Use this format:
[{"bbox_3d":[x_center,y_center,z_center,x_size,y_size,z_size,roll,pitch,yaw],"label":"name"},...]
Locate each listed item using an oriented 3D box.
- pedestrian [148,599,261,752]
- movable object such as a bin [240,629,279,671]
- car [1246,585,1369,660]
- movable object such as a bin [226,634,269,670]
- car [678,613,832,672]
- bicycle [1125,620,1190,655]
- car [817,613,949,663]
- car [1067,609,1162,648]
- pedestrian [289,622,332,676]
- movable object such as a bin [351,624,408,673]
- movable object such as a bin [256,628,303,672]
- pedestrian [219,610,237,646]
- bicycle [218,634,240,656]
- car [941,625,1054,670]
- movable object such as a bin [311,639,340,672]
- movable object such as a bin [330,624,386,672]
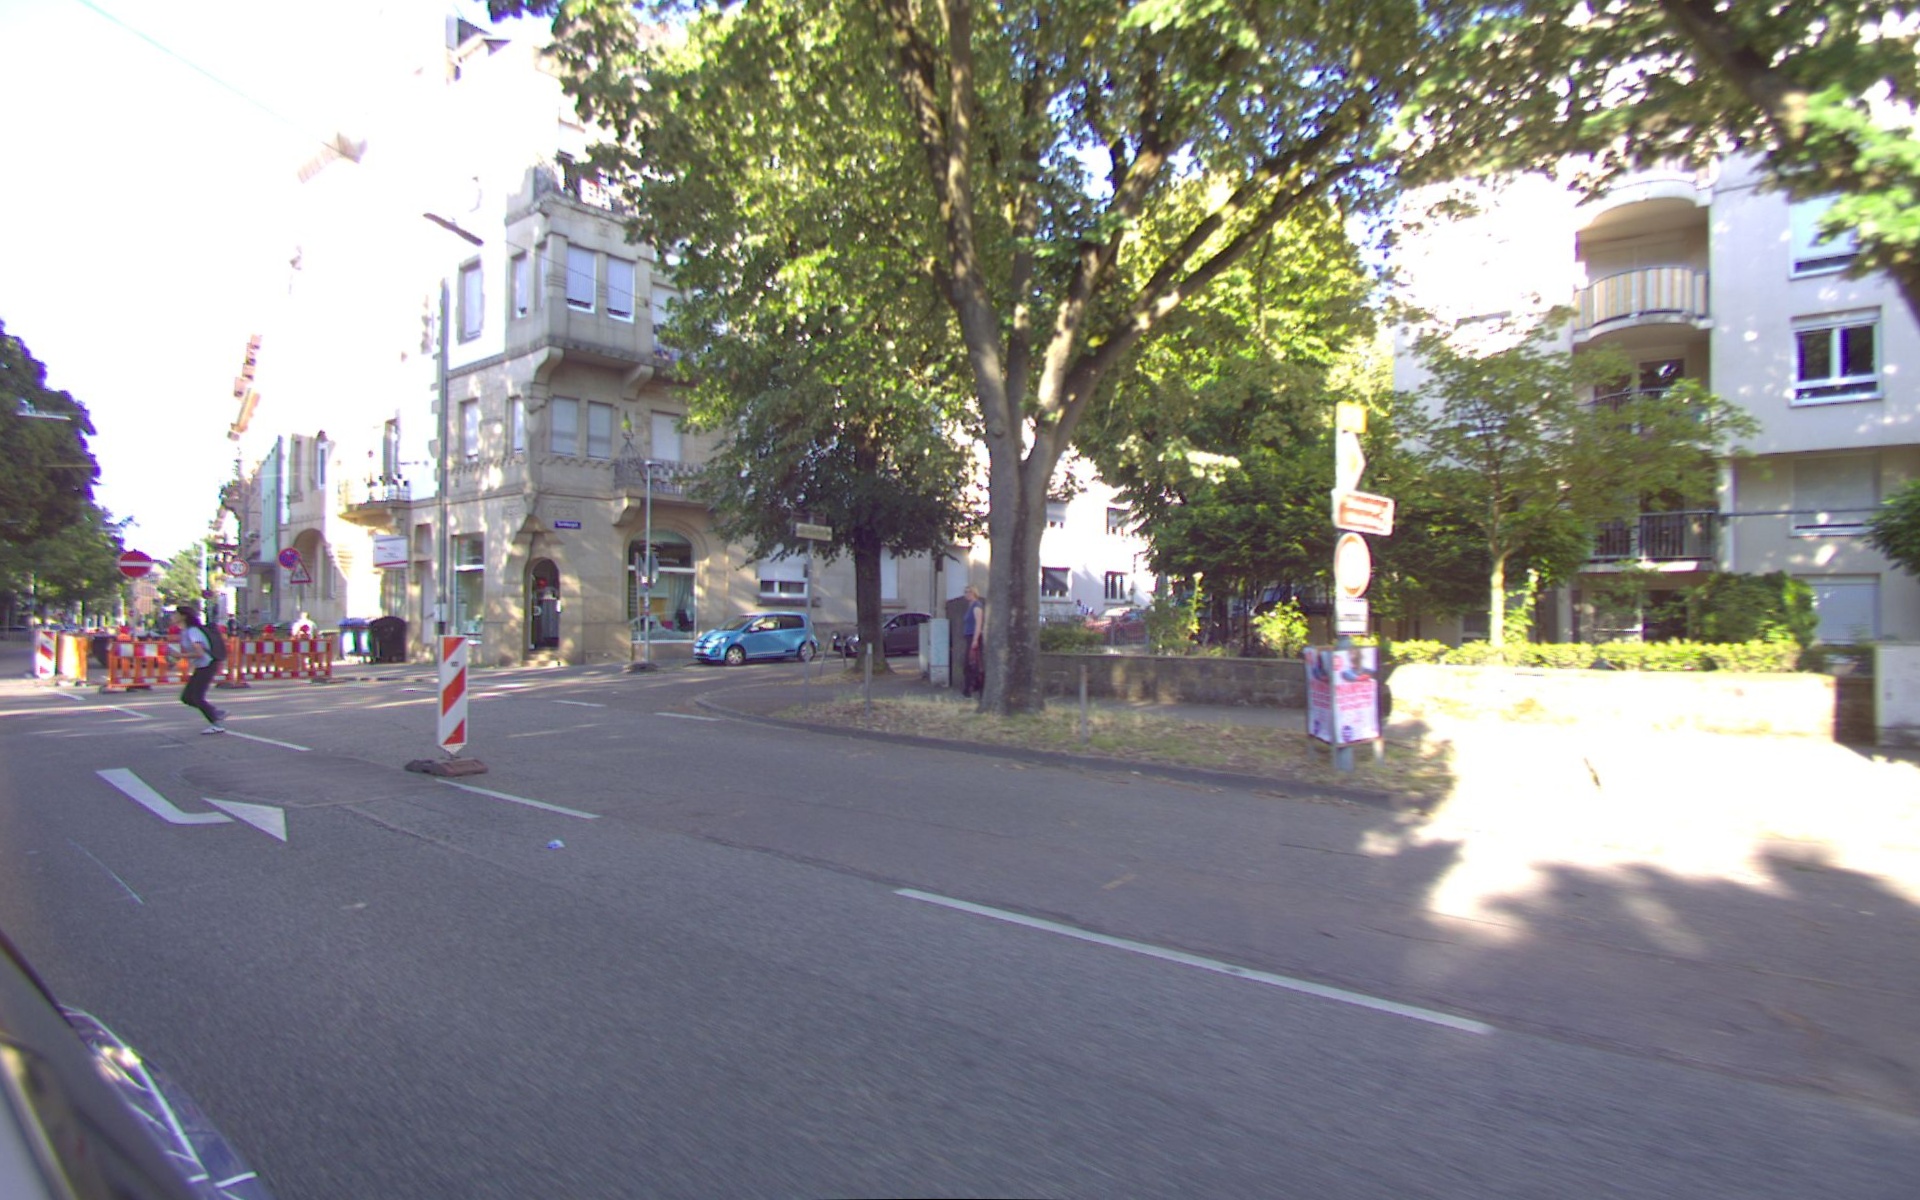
[{"bbox_3d":[-9.497,0.909,12.719,1.030,1.795,1.193,1,-2,-42],"label":"pedestrian"},{"bbox_3d":[-25.336,1.795,36.622,1.067,1.442,1.411,-1,-1,-32],"label":"movable object such as a bin"},{"bbox_3d":[12.879,0.844,37.310,2.457,2.585,5.179,-2,-2,42],"label":"car"},{"bbox_3d":[-26.527,1.909,37.658,1.335,1.273,1.070,-2,-1,44],"label":"movable object such as a bin"},{"bbox_3d":[-5.858,1.205,29.185,2.000,1.564,3.944,-2,-2,42],"label":"car"},{"bbox_3d":[6.064,1.151,31.234,0.913,1.017,1.939,-1,-1,-29],"label":"bicycle"},{"bbox_3d":[-2.402,1.203,32.261,2.000,1.497,3.944,-2,-2,42],"label":"car"},{"bbox_3d":[6.323,1.155,41.274,2.000,1.497,3.944,-2,-2,42],"label":"car"},{"bbox_3d":[-20.179,1.515,31.435,0.915,1.615,0.814,-2,-1,34],"label":"pedestrian"},{"bbox_3d":[-17.861,1.477,31.146,1.343,1.442,1.072,-2,-1,37],"label":"movable object such as a bin"},{"bbox_3d":[-23.679,1.730,35.214,1.407,1.442,1.071,-2,-1,43],"label":"movable object such as a bin"},{"bbox_3d":[-32.413,1.251,44.803,0.591,1.568,0.617,0,-1,-43],"label":"pedestrian"},{"bbox_3d":[-32.318,1.985,44.725,0.592,0.939,1.475,-1,-1,-43],"label":"bicycle"},{"bbox_3d":[1.379,1.663,36.128,2.000,1.497,3.944,-2,-2,42],"label":"car"},{"bbox_3d":[-21.161,1.842,33.744,0.764,1.049,0.629,-2,-1,42],"label":"movable object such as a bin"},{"bbox_3d":[-19.051,1.512,32.008,1.405,1.442,1.072,-2,-1,37],"label":"movable object such as a bin"}]
